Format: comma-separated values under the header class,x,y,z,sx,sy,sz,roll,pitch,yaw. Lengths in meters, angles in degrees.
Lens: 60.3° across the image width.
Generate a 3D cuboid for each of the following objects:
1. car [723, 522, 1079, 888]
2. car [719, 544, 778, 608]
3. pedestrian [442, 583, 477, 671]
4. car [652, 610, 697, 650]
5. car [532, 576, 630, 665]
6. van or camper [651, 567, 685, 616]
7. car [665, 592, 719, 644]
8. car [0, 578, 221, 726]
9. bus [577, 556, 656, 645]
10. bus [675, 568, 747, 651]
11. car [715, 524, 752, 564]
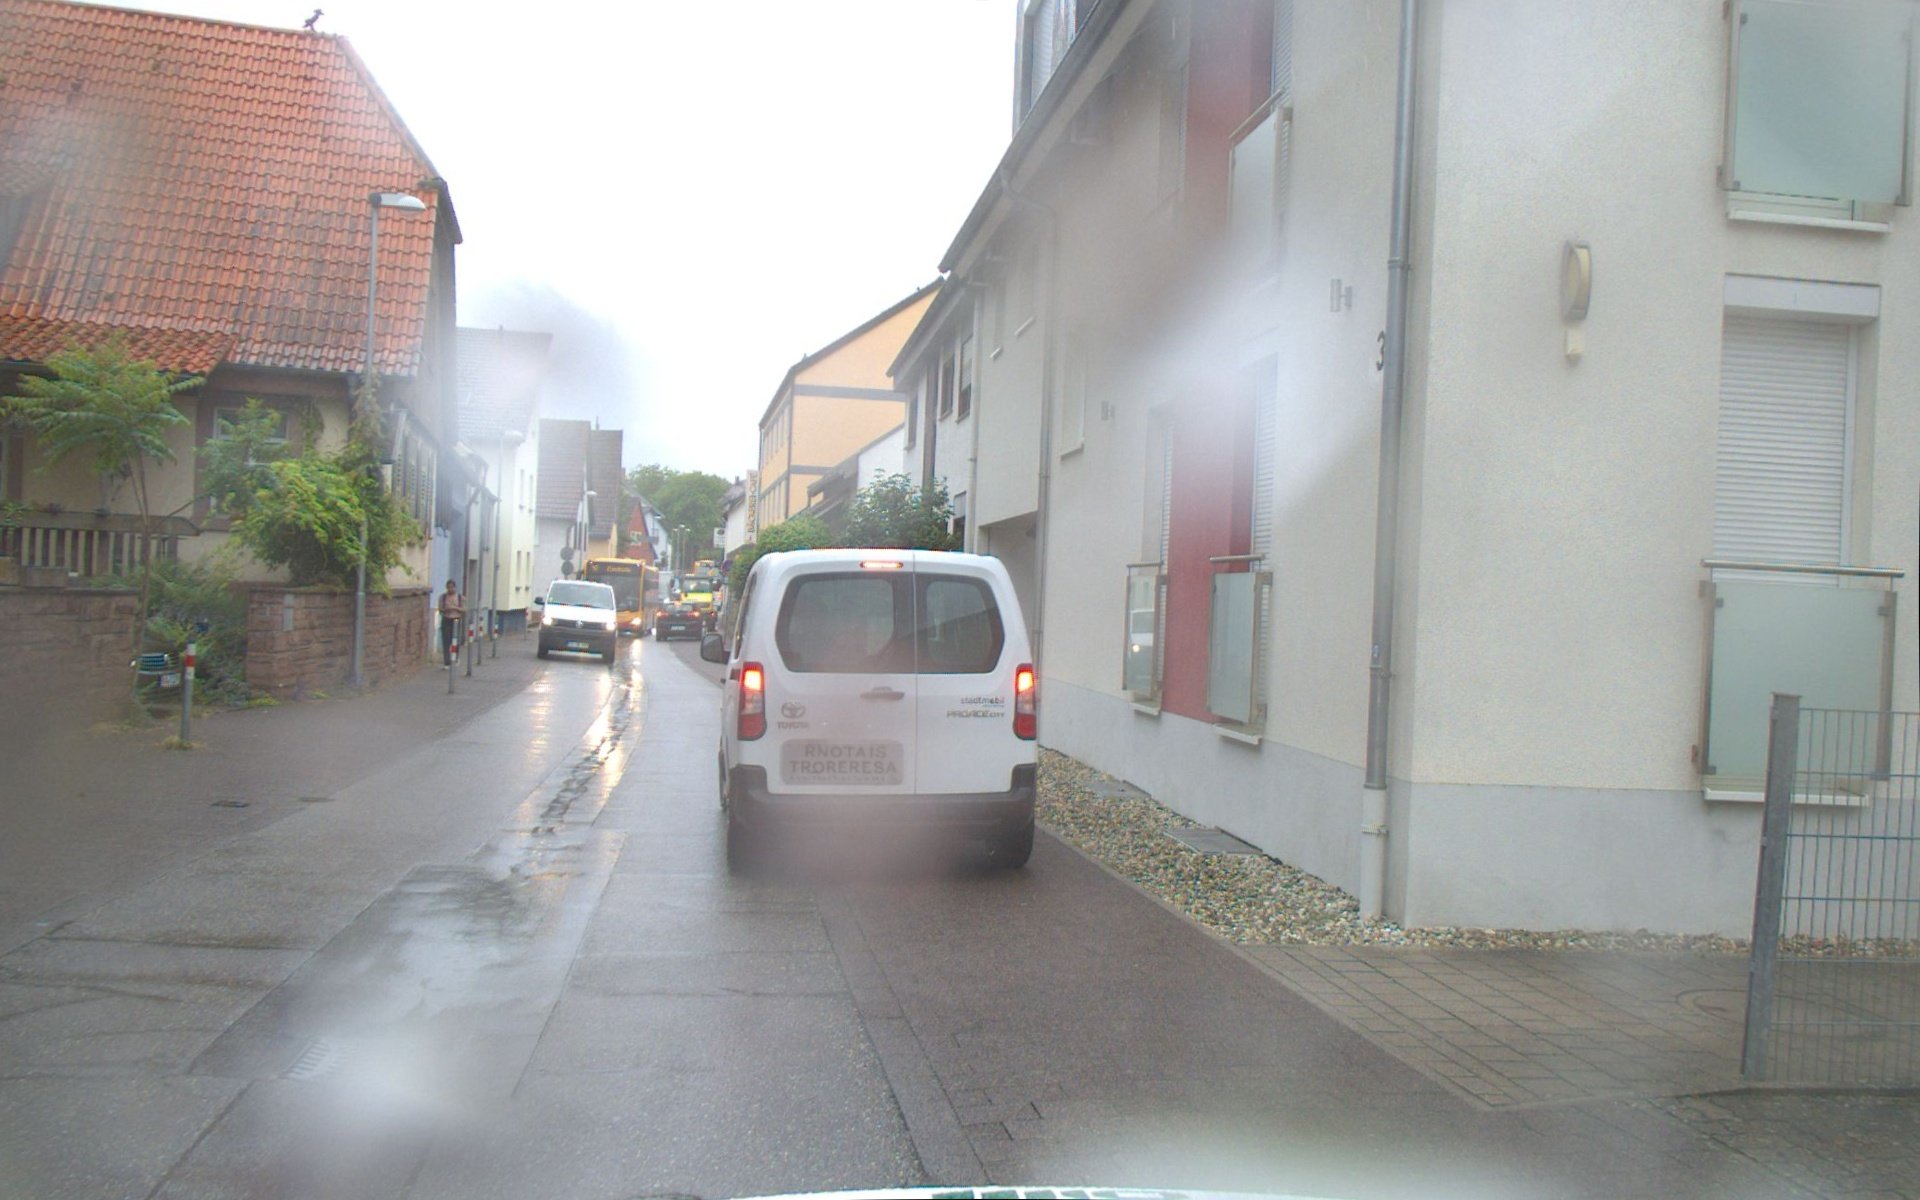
class,x,y,z,sx,sy,sz,roll,pitch,yaw
car,-0.578,0.562,10.557,1.762,1.850,4.092,1,-1,-9
car,-7.467,-0.803,58.135,1.794,2.049,3.685,3,-1,-10
pedestrian,-8.981,0.482,29.688,0.559,1.557,0.566,1,-1,-19
car,-10.783,1.124,62.584,1.533,1.395,3.577,4,-1,-9
car,-9.457,0.525,41.576,1.857,2.001,4.714,3,-1,-8
van or camper,-18.837,-0.501,106.689,1.801,2.977,5.353,3,-1,-8
car,-8.461,0.571,52.251,1.533,1.506,3.577,4,-1,-9
car,-9.742,0.486,17.080,3.461,1.400,1.592,2,-1,-8
bus,-14.442,0.073,70.070,2.743,3.387,8.158,4,-1,-10
bus,-11.008,0.461,72.635,2.743,3.235,8.158,4,-1,-10
car,-13.275,-3.254,96.775,1.957,2.049,3.992,3,-1,-8
